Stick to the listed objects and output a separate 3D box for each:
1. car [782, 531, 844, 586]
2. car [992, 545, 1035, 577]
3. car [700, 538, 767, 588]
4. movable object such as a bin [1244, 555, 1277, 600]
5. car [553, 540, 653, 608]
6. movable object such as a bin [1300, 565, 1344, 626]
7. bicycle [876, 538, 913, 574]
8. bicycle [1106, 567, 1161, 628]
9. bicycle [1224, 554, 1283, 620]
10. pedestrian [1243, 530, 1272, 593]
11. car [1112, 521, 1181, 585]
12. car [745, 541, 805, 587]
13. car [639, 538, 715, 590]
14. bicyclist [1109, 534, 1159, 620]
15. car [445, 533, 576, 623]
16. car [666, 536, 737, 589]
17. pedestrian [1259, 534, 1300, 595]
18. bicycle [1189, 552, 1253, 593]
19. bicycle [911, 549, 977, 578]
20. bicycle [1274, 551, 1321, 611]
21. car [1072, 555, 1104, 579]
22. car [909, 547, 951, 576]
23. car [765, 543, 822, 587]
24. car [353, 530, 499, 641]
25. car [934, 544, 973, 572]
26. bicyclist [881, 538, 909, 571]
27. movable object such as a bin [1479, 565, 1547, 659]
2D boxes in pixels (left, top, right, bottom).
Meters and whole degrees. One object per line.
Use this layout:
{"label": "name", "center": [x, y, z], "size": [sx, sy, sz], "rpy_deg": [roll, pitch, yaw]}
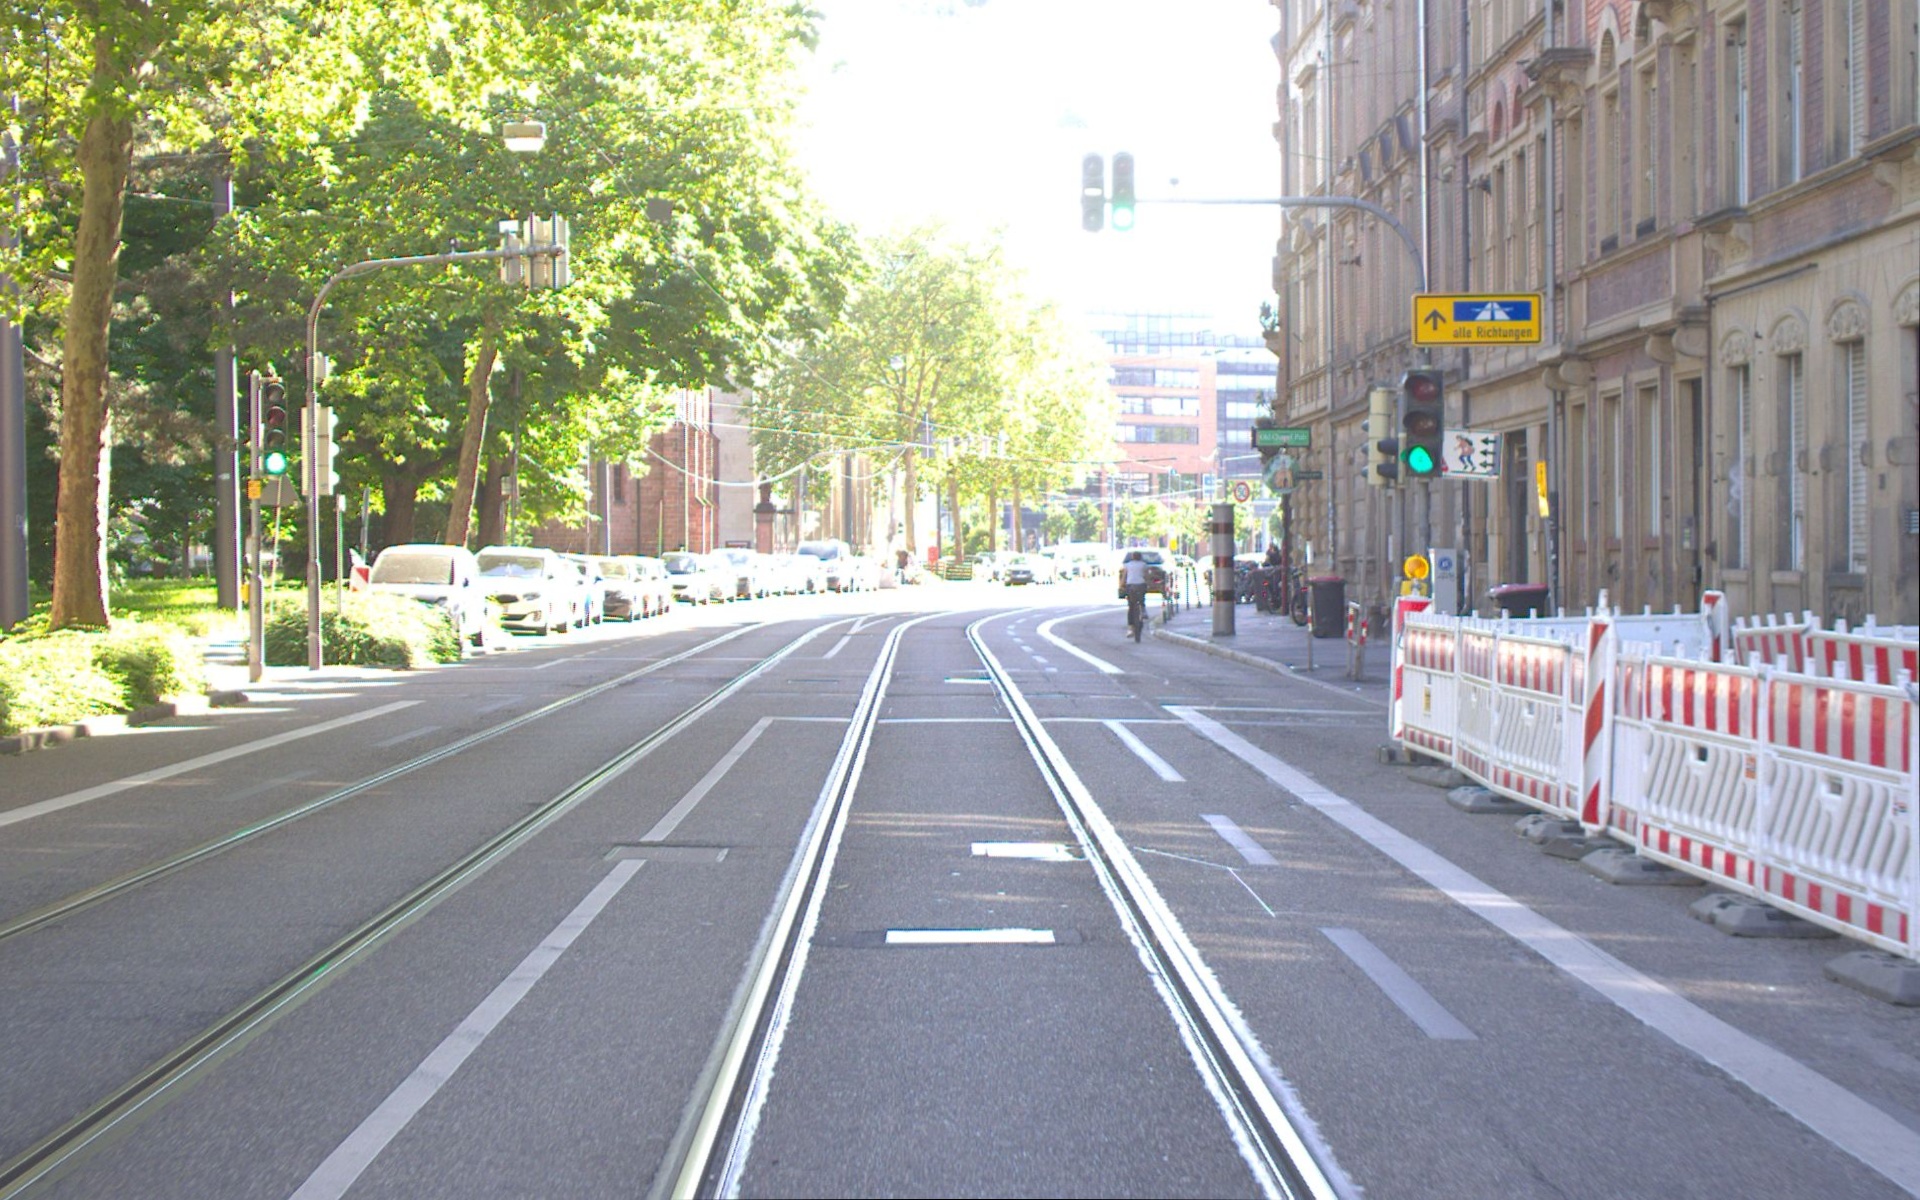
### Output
{"label": "car", "center": [-5.702, -1.612, 133.922], "size": [2.058, 2.045, 4.043], "rpy_deg": [1, 0, 2]}
{"label": "car", "center": [2.535, -1.830, 161.898], "size": [1.748, 1.417, 4.043], "rpy_deg": [1, 1, 4]}
{"label": "car", "center": [-7.461, -1.207, 113.628], "size": [1.748, 1.581, 4.043], "rpy_deg": [1, 0, 2]}
{"label": "movable object such as a bin", "center": [7.489, -0.560, 85.728], "size": [0.695, 1.089, 0.742], "rpy_deg": [1, 0, -3]}
{"label": "car", "center": [-8.301, -0.613, 80.177], "size": [1.748, 1.504, 4.043], "rpy_deg": [1, 1, 2]}
{"label": "movable object such as a bin", "center": [6.254, -0.084, 59.380], "size": [0.673, 1.032, 0.813], "rpy_deg": [0, 2, 0]}
{"label": "bicycle", "center": [-2.932, -1.976, 154.049], "size": [1.234, 1.567, 2.896], "rpy_deg": [1, 0, 7]}
{"label": "bicycle", "center": [3.198, -0.051, 63.510], "size": [0.856, 1.084, 2.487], "rpy_deg": [1, 0, 0]}
{"label": "bicycle", "center": [6.878, -0.306, 80.431], "size": [0.971, 1.510, 3.244], "rpy_deg": [1, 0, 11]}
{"label": "pedestrian", "center": [9.016, -1.151, 104.110], "size": [0.784, 1.882, 0.970], "rpy_deg": [1, 0, 8]}
{"label": "car", "center": [6.116, -1.539, 113.141], "size": [1.993, 2.007, 4.000], "rpy_deg": [1, 0, 0]}
{"label": "car", "center": [-6.636, -1.280, 123.702], "size": [1.748, 1.581, 4.043], "rpy_deg": [1, 0, 2]}
{"label": "car", "center": [-8.471, -1.088, 103.123], "size": [1.748, 1.490, 4.043], "rpy_deg": [1, 1, 2]}
{"label": "bicyclist", "center": [3.213, -0.425, 63.483], "size": [0.838, 1.552, 0.965], "rpy_deg": [1, 0, -1]}
{"label": "car", "center": [-8.393, -0.413, 64.529], "size": [1.748, 1.602, 4.043], "rpy_deg": [1, 0, 2]}
{"label": "car", "center": [-8.103, -1.172, 108.188], "size": [1.748, 1.581, 4.043], "rpy_deg": [1, 0, 2]}
{"label": "pedestrian", "center": [9.421, -1.053, 101.325], "size": [1.055, 1.754, 1.332], "rpy_deg": [1, 0, 0]}
{"label": "bicycle", "center": [7.309, -0.758, 96.049], "size": [0.641, 1.114, 2.292], "rpy_deg": [2, 1, 36]}
{"label": "bicycle", "center": [-0.720, -1.670, 157.180], "size": [2.889, 1.227, 0.883], "rpy_deg": [1, 0, 10]}
{"label": "bicycle", "center": [6.445, -0.372, 65.708], "size": [0.639, 1.114, 2.297], "rpy_deg": [1, 0, 0]}
{"label": "car", "center": [7.683, -1.966, 205.966], "size": [1.748, 1.417, 4.043], "rpy_deg": [1, 1, 4]}
{"label": "car", "center": [-1.500, -1.918, 171.568], "size": [1.748, 1.417, 4.043], "rpy_deg": [1, 1, 4]}
{"label": "car", "center": [-6.215, -1.318, 128.894], "size": [1.748, 1.581, 4.043], "rpy_deg": [1, 0, 2]}
{"label": "car", "center": [-8.361, -0.234, 54.062], "size": [1.545, 1.653, 3.762], "rpy_deg": [1, 0, 2]}
{"label": "car", "center": [-0.333, -2.198, 181.690], "size": [1.748, 1.417, 4.043], "rpy_deg": [1, 1, 4]}
{"label": "bicyclist", "center": [-2.919, -2.034, 154.012], "size": [1.078, 1.423, 1.146], "rpy_deg": [1, 0, 8]}
{"label": "movable object such as a bin", "center": [6.625, 0.140, 41.196], "size": [0.620, 1.106, 0.781], "rpy_deg": [1, 0, -3]}
